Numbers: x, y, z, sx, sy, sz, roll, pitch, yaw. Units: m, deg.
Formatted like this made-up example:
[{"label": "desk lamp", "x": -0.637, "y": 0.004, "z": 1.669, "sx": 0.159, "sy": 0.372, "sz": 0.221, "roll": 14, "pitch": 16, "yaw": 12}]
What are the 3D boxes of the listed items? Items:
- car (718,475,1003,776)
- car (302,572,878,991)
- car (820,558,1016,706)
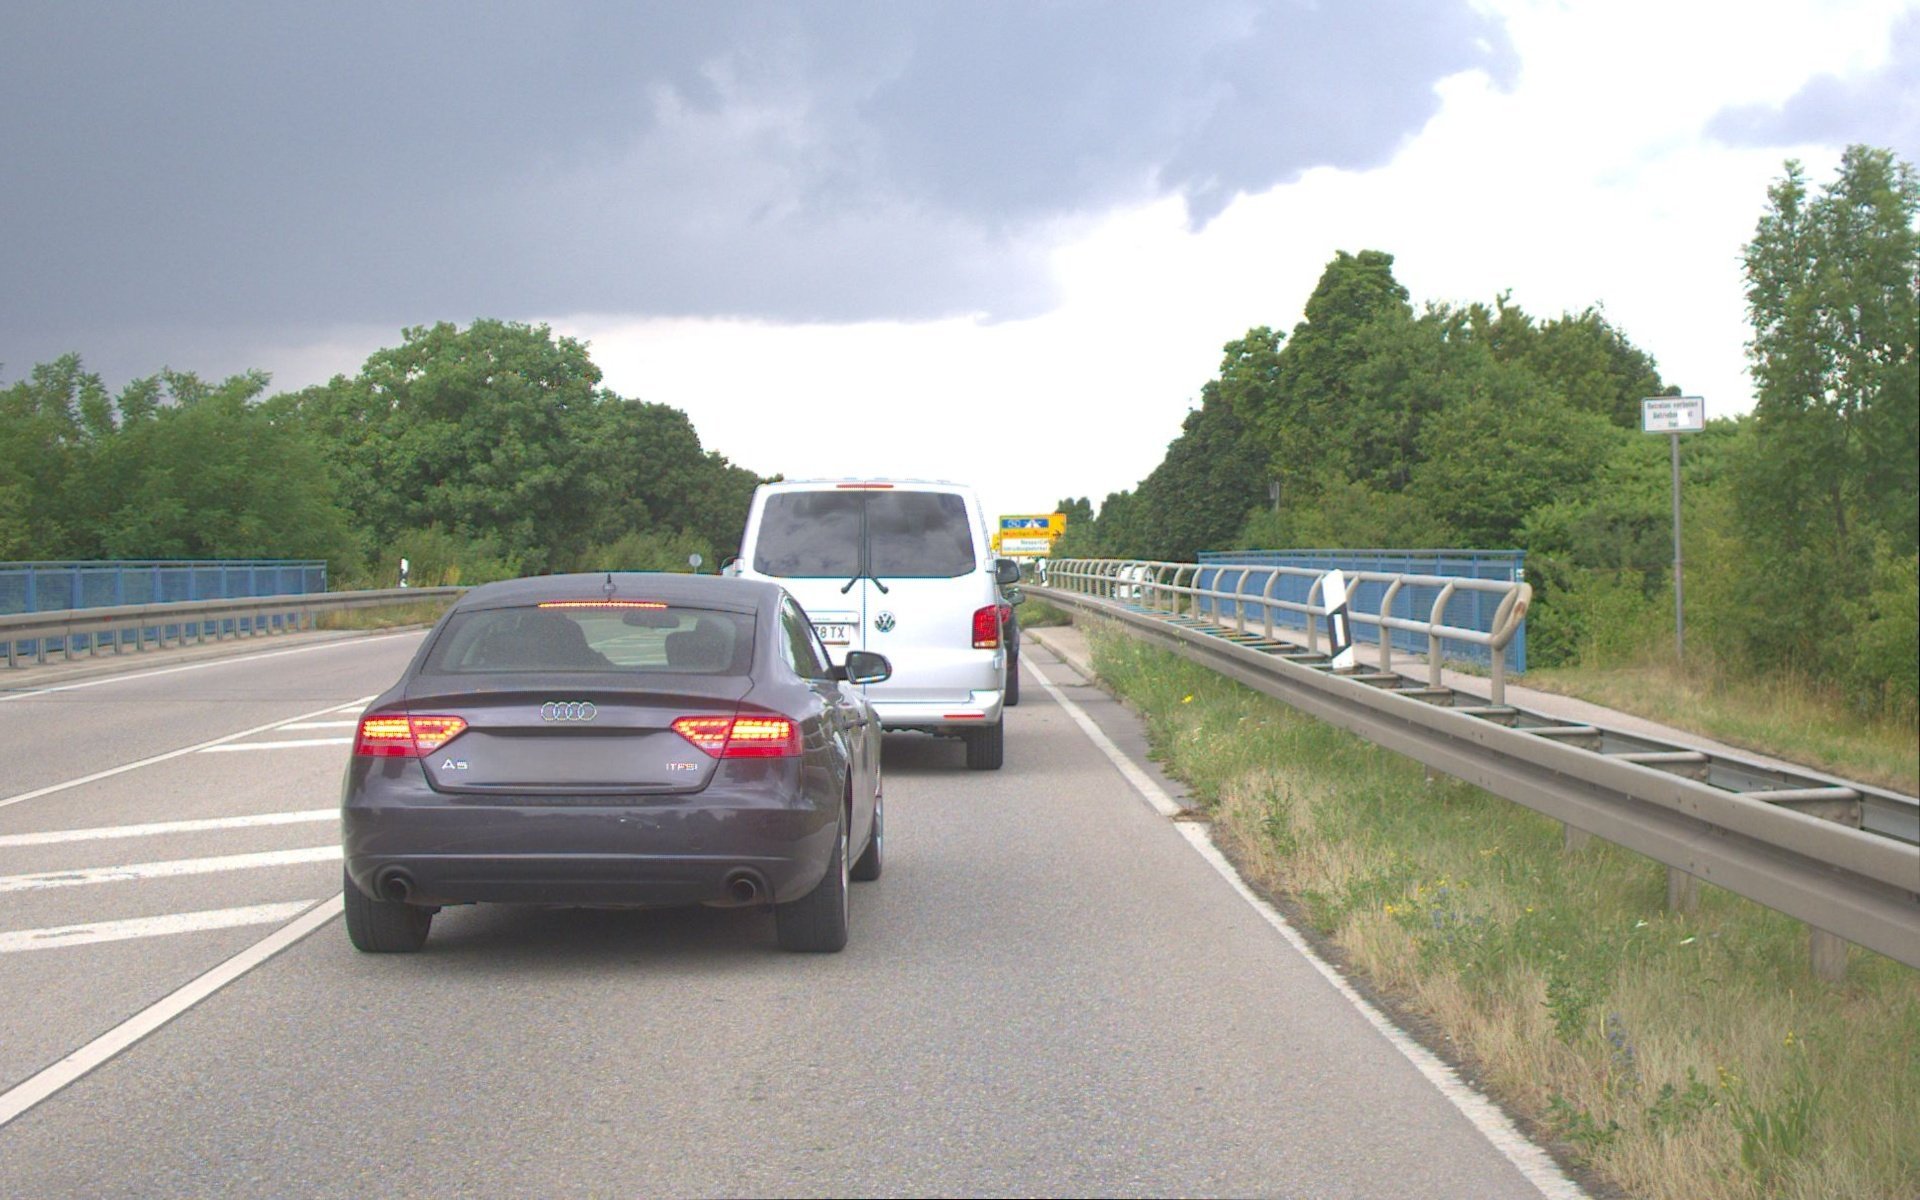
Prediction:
[{"label": "car", "x": -0.666, "y": 0.142, "z": 24.243, "sx": 1.828, "sy": 1.929, "sz": 4.000, "roll": -1, "pitch": 1, "yaw": -1}, {"label": "car", "x": -1.290, "y": 0.594, "z": 13.564, "sx": 1.821, "sy": 1.376, "sz": 4.072, "roll": -1, "pitch": 1, "yaw": 0}, {"label": "car", "x": -0.372, "y": 0.272, "z": 34.068, "sx": 1.821, "sy": 1.376, "sz": 4.072, "roll": 0, "pitch": 1, "yaw": 1}]
